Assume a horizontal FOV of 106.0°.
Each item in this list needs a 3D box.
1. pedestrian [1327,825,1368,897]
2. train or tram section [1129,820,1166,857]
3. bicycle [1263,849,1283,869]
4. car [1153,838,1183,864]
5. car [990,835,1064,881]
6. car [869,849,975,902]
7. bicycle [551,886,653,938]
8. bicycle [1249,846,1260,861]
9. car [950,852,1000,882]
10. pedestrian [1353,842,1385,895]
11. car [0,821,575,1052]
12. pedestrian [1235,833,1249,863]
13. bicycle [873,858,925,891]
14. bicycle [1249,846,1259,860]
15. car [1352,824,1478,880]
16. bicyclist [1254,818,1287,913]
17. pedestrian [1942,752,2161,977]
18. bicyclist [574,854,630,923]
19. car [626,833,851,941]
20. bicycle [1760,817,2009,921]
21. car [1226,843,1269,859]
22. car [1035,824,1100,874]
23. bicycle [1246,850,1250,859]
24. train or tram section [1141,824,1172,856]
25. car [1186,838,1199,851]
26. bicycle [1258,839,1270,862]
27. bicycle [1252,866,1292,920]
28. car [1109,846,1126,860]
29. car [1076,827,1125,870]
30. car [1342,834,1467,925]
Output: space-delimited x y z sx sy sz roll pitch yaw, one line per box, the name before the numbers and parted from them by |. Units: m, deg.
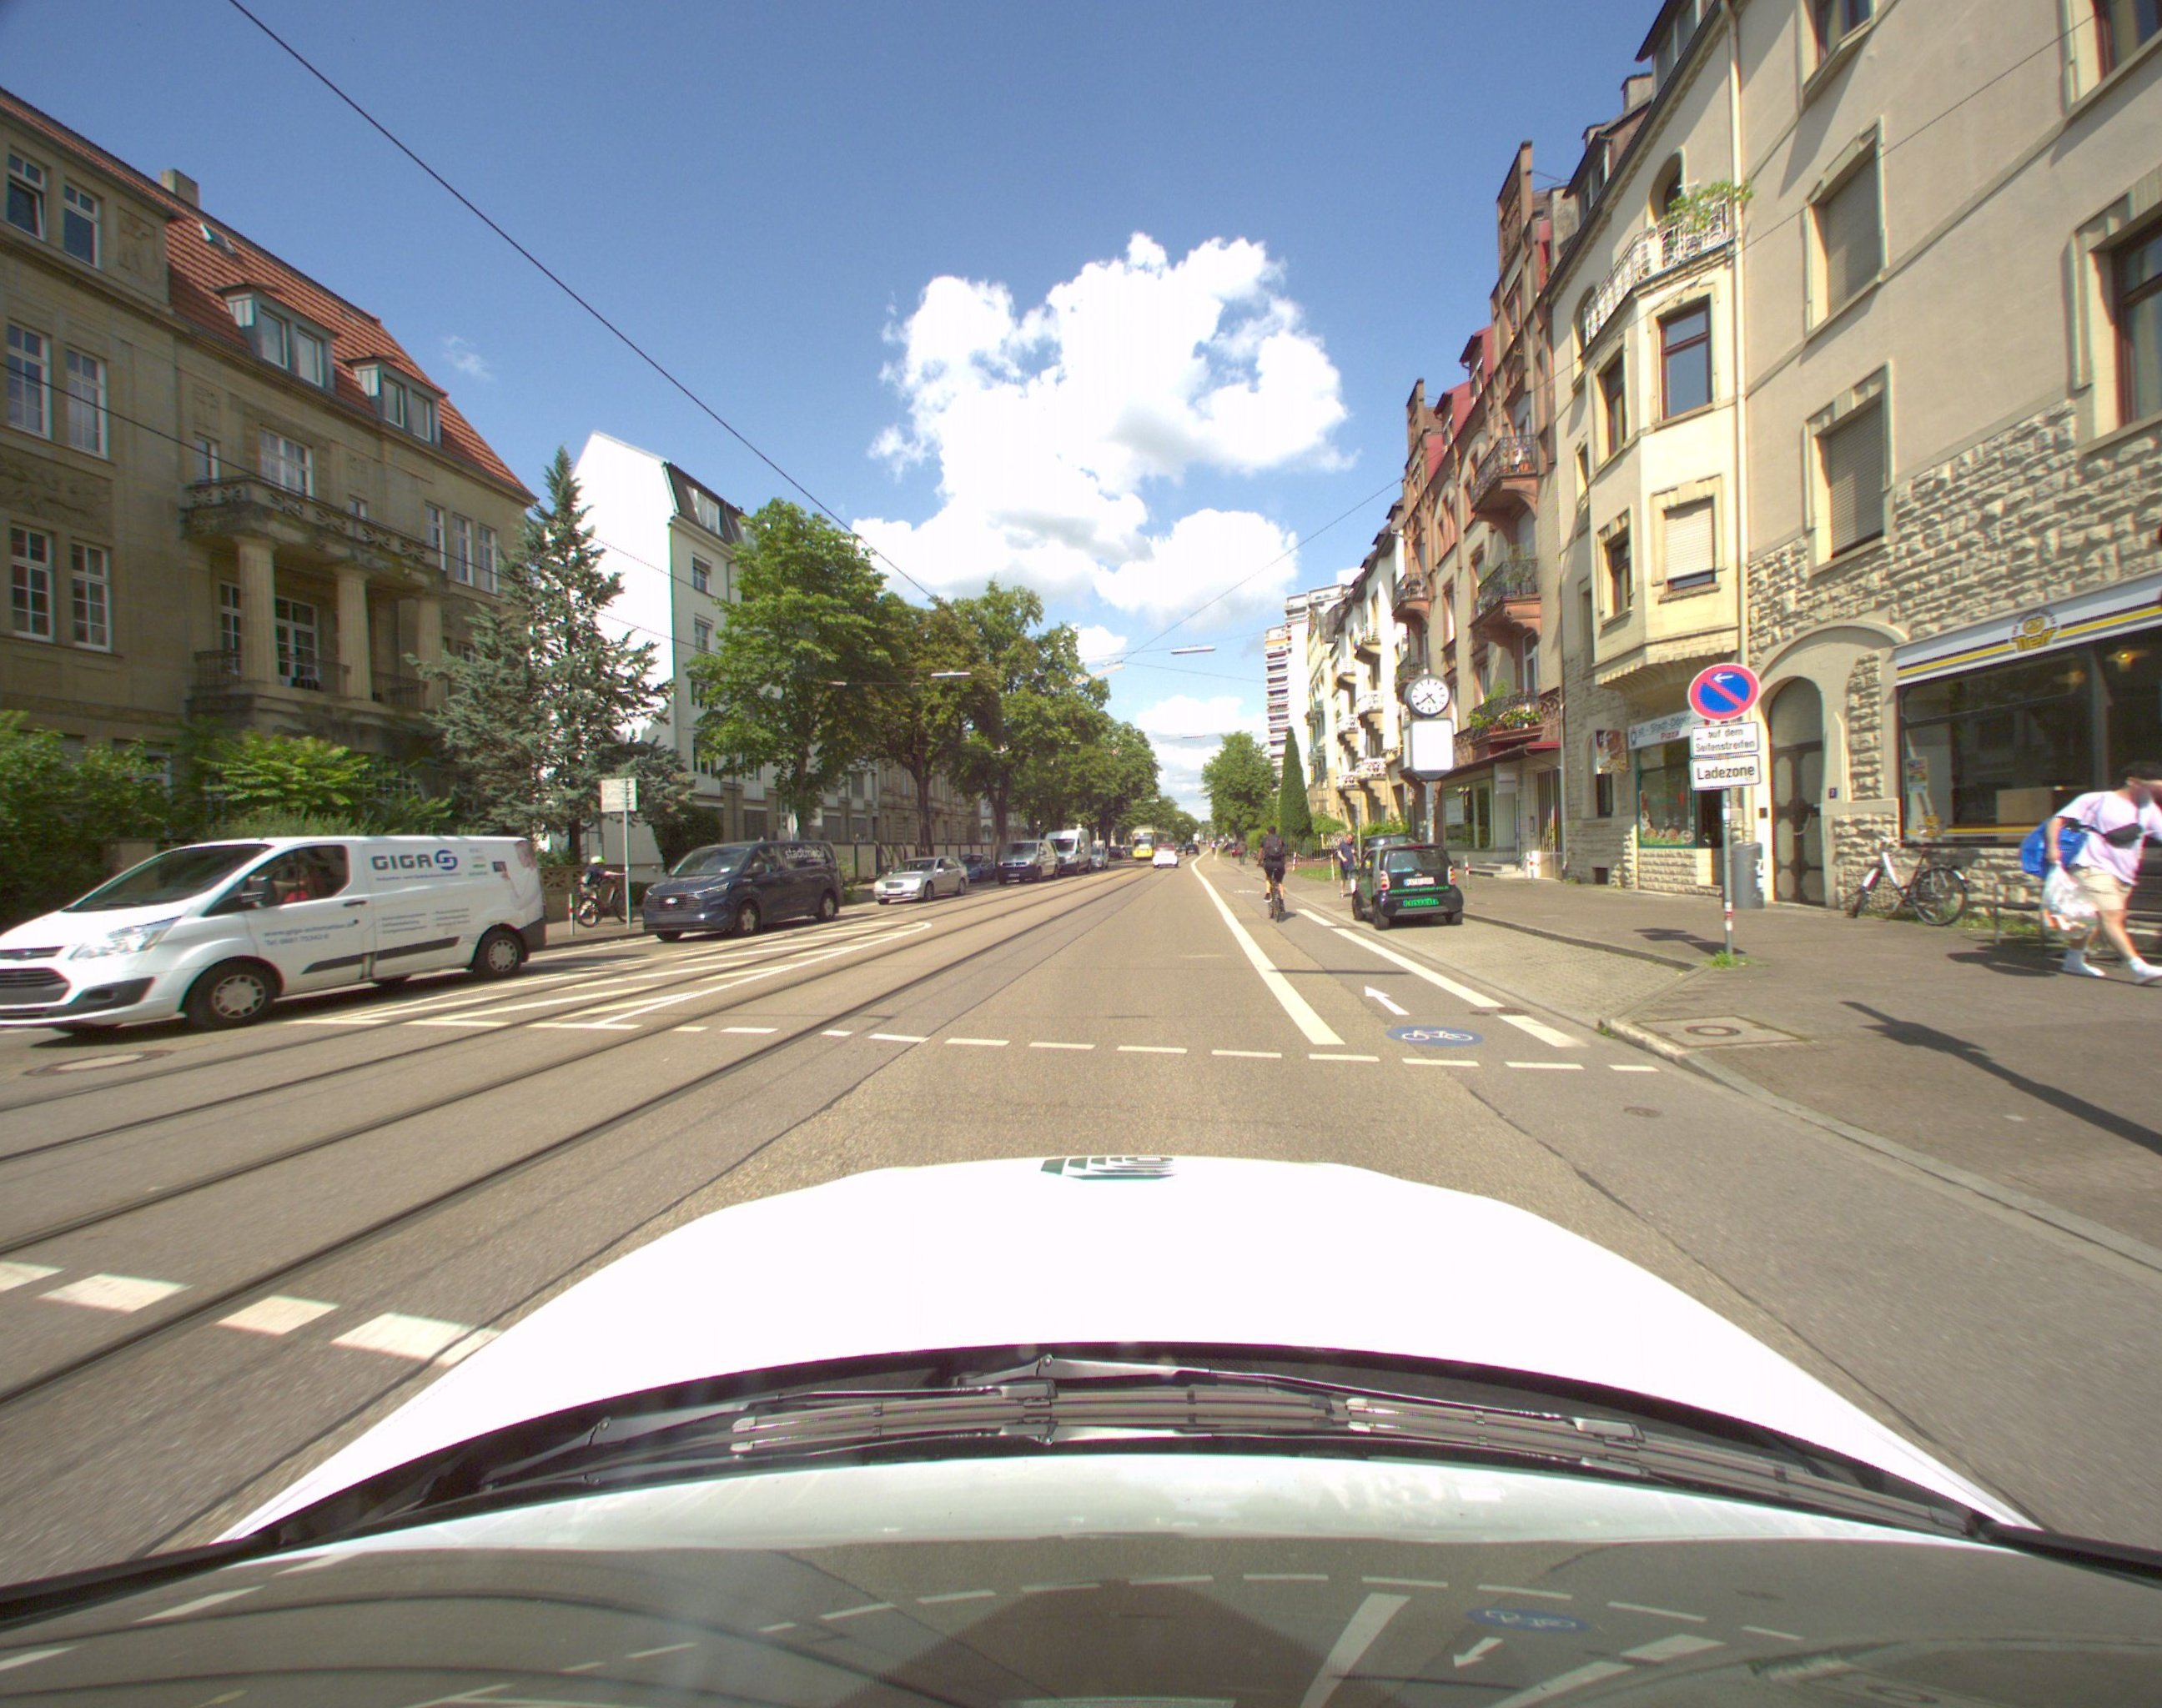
pedestrian | 7.162 0.173 21.900 0.656 1.841 0.874 -6 0 1
train or tram section | 7.154 -1.556 86.084 2.636 3.436 12.349 -4 -1 10
bicycle | 10.281 0.248 43.745 0.596 0.961 3.072 -6 0 7
car | 5.689 -0.194 53.172 1.655 1.624 3.631 0 0 11
car | -2.410 0.138 37.916 1.972 1.963 5.198 -2 1 13
car | -5.122 0.632 26.921 1.681 1.480 4.498 -3 0 13
bicycle | -10.570 1.259 18.064 0.993 0.933 1.865 2 1 8
bicycle | 12.746 -0.048 59.785 0.607 0.996 2.368 -5 -1 9
car | -5.557 0.672 43.203 1.540 1.519 4.095 0 0 9
pedestrian | 7.638 0.379 21.601 0.568 1.325 0.442 -7 0 1
car | -8.975 0.719 9.716 1.981 1.995 5.104 -3 0 10
pedestrian | 10.143 -0.402 51.297 0.784 1.861 0.580 -2 0 2
bicycle | -7.686 0.851 34.486 2.064 1.309 0.614 0 0 -32
bicycle | 13.217 -0.080 62.146 0.608 0.989 1.877 -4 -1 9
car | 10.645 -0.067 26.193 3.379 1.523 1.978 -4 0 11
bicyclist | 4.013 0.240 17.329 0.603 1.948 1.133 0 0 9
pedestrian | 8.420 0.081 7.009 1.004 1.768 0.852 -4 1 10
bicyclist | -11.725 0.831 19.940 0.945 1.644 0.703 0 0 8
car | -7.137 0.620 17.757 1.915 1.917 5.138 -4 0 10
bicycle | 10.327 0.169 10.682 0.800 1.177 2.757 0 0 7
car | 17.197 -0.316 83.954 4.176 1.423 1.847 -2 0 -33
car | -0.632 -0.329 45.233 2.301 2.507 6.382 -2 1 10
bicycle | 14.148 0.050 69.018 0.278 0.677 1.563 -5 -1 10
train or tram section | 9.183 -1.592 97.739 2.636 3.389 11.504 -4 -1 10
car | 15.273 -1.301 111.550 1.655 1.624 3.630 -2 1 9
bicycle | 10.759 -0.211 47.885 0.448 1.261 1.847 -4 0 7
bicycle | 4.046 0.797 17.330 0.612 1.045 1.840 -5 -2 9
car | 4.627 -0.146 103.041 1.740 1.665 4.732 0 0 9
car | 1.317 -0.385 52.136 2.303 2.507 6.378 -2 0 8
car | 6.162 0.446 15.795 1.505 1.498 2.800 -4 0 7
